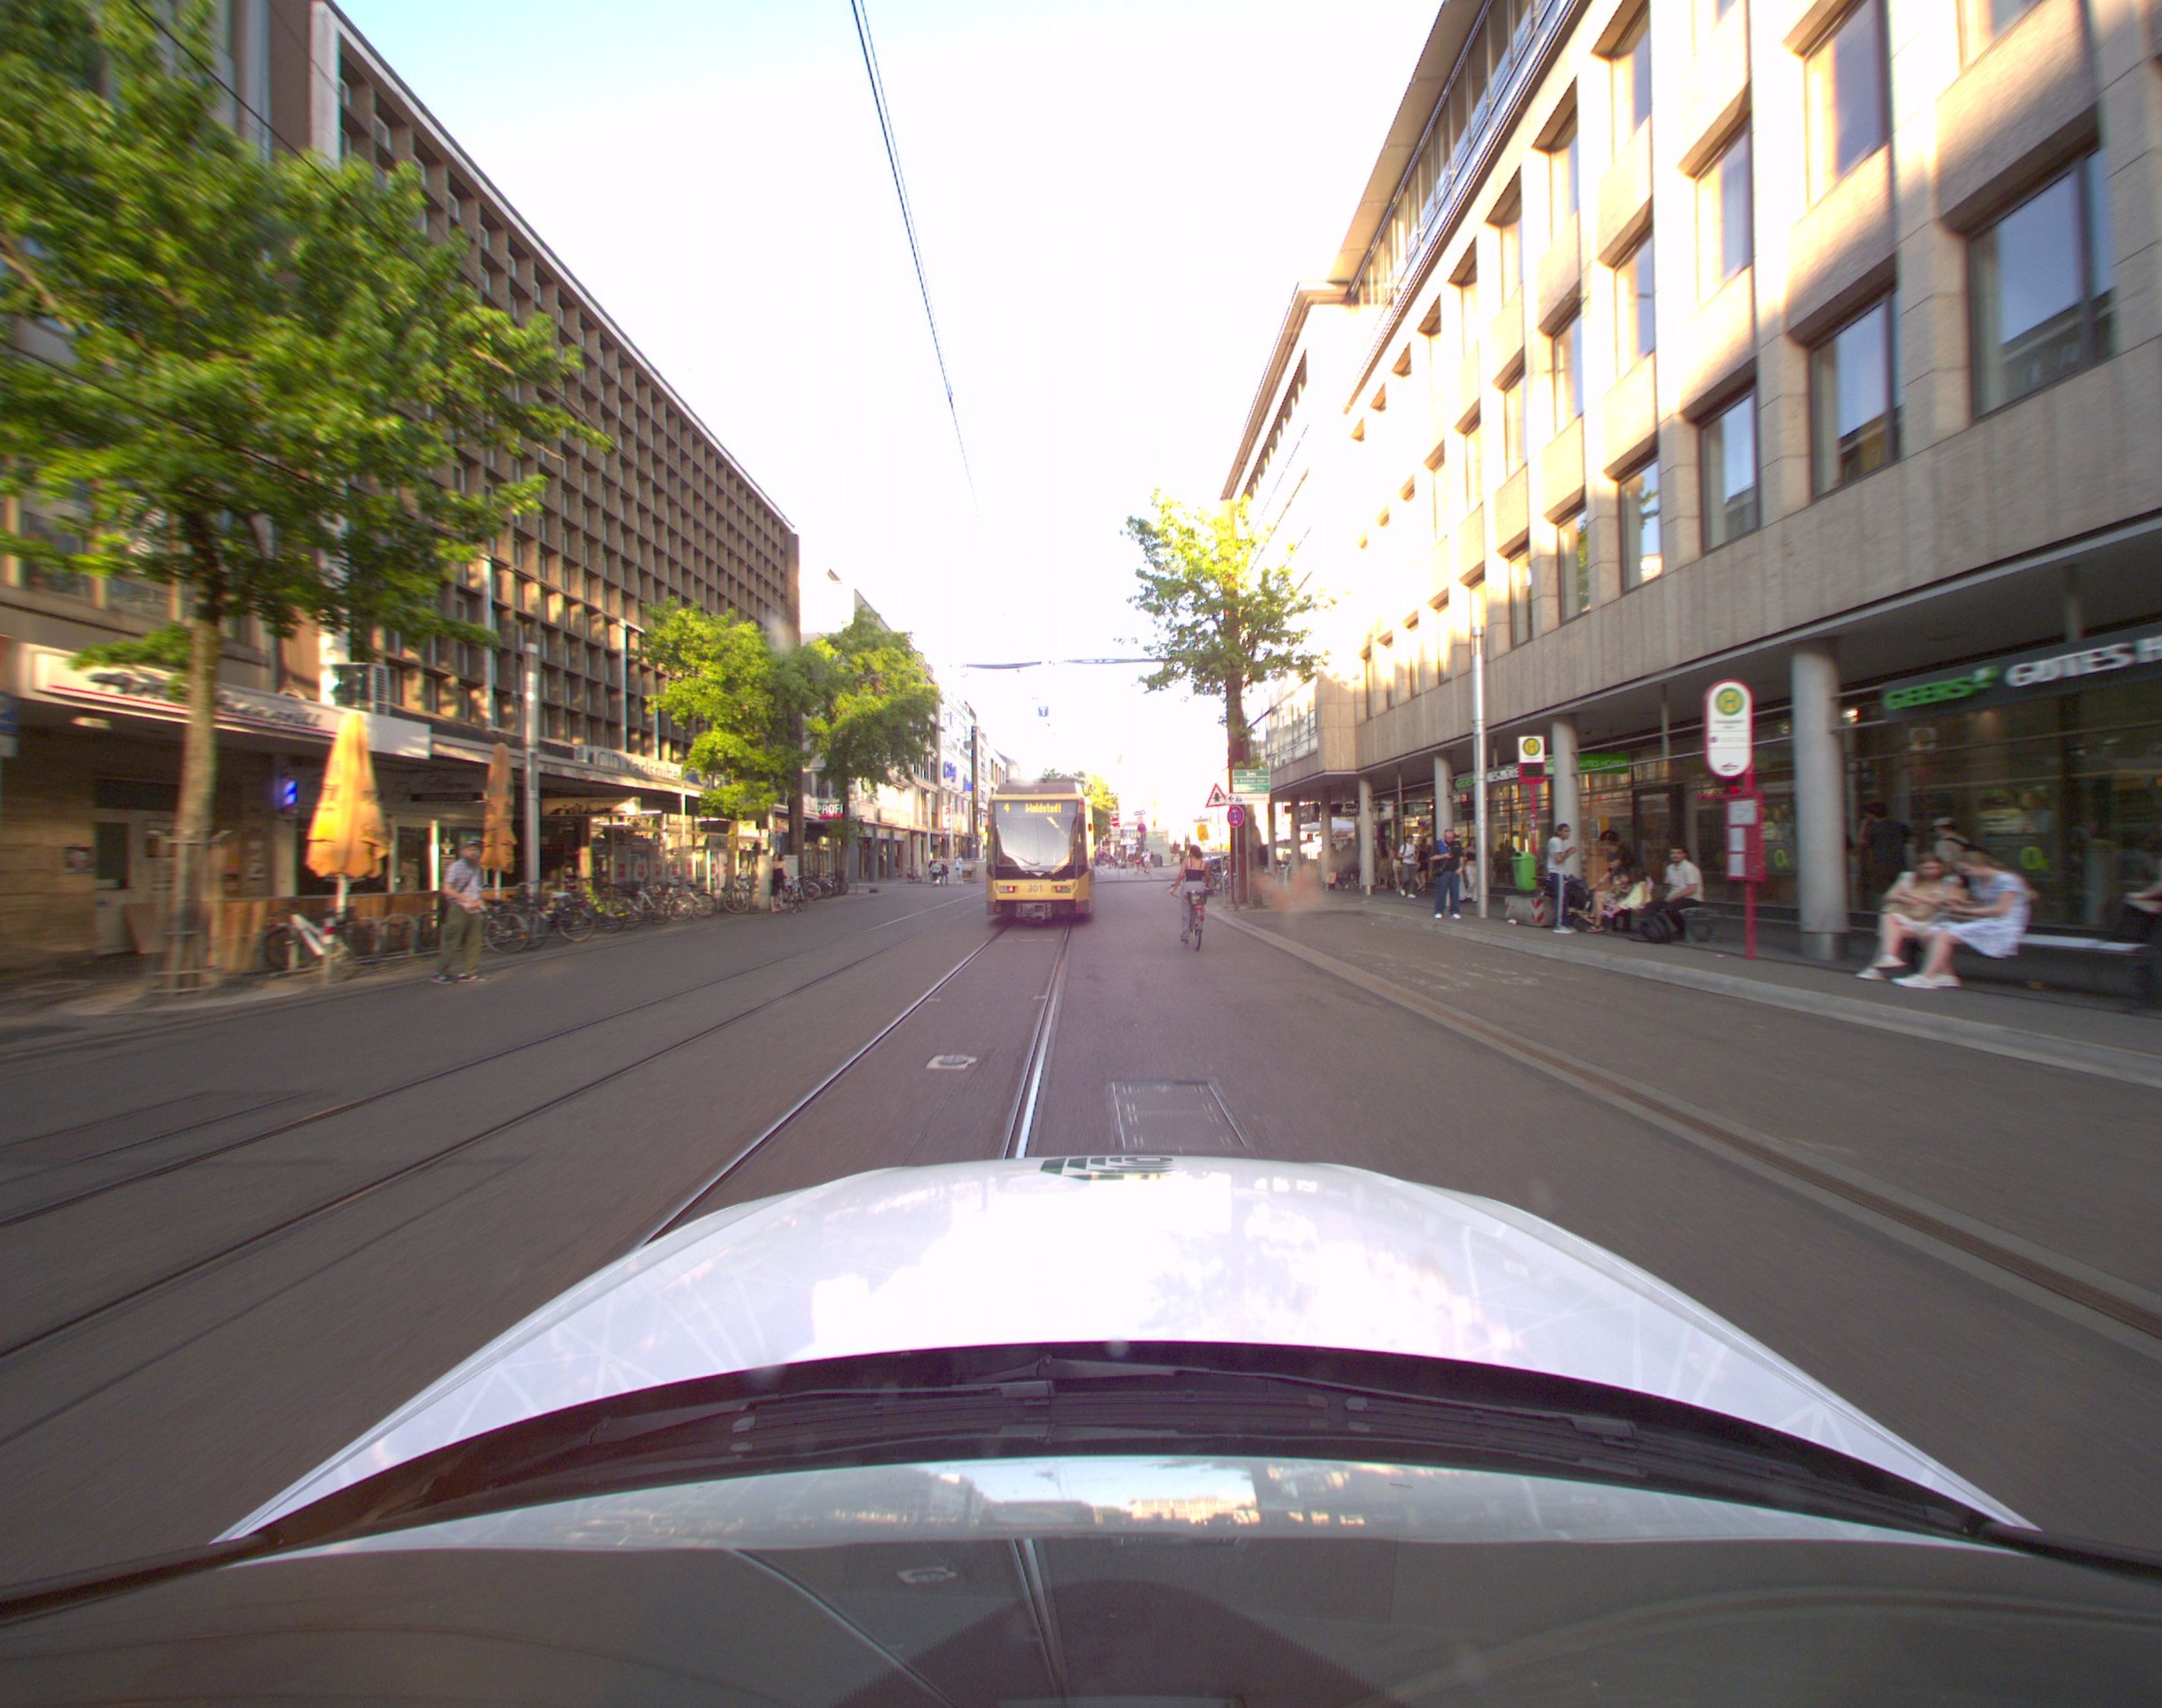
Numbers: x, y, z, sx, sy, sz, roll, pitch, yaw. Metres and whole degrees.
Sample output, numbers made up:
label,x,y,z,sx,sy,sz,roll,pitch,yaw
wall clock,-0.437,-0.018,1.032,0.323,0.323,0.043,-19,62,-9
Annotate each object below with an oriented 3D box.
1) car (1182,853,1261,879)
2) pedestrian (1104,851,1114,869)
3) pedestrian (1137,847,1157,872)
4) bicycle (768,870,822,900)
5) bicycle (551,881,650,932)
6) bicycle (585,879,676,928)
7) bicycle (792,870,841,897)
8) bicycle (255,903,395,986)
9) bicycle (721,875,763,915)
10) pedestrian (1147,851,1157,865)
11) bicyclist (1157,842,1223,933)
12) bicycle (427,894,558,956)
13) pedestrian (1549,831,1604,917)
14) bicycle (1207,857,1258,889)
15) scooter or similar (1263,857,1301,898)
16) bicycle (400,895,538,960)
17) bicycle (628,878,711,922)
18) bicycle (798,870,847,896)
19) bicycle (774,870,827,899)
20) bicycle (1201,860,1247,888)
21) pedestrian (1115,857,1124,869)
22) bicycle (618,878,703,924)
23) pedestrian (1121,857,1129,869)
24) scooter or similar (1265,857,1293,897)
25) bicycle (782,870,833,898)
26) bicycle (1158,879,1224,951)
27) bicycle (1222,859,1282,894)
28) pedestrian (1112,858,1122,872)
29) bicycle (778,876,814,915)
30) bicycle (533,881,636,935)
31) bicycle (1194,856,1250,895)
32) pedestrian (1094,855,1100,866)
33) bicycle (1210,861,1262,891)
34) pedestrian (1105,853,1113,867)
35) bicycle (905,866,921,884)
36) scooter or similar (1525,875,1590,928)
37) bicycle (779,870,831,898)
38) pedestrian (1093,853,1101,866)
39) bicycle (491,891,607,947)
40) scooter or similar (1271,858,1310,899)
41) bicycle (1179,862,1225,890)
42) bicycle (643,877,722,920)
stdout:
label,x,y,z,sx,sy,sz,roll,pitch,yaw
car,7.948,0.681,46.156,4.046,1.409,1.766,0,-1,-15
pedestrian,2.926,0.656,85.073,0.734,1.823,0.816,-1,0,-14
pedestrian,4.914,0.423,60.428,1.020,1.863,1.032,0,-1,-33
bicycle,-10.428,1.130,29.685,1.766,1.045,0.489,0,0,0
bicycle,-10.312,1.126,17.515,1.769,1.071,0.488,1,0,-6
bicycle,-10.349,1.138,18.756,1.769,1.071,0.488,1,0,-6
bicycle,-10.419,1.154,32.138,1.766,1.045,0.489,0,0,0
bicycle,-9.883,1.152,10.642,1.758,0.966,0.491,1,-1,17
bicycle,-9.613,1.140,23.160,0.487,1.045,1.776,-1,0,-2
pedestrian,8.117,0.461,92.526,0.773,1.661,0.785,-1,0,-41
bicyclist,1.848,0.554,13.895,0.994,1.502,0.857,0,0,-1
bicycle,-9.855,1.178,13.678,1.769,0.990,0.488,0,1,-6
pedestrian,9.827,0.389,16.179,0.646,1.661,0.650,-2,0,1
bicycle,6.322,0.791,33.959,1.912,1.222,0.762,-3,0,-5
scooter or similar,6.577,0.764,26.633,1.195,1.251,0.389,-2,0,-29
bicycle,-9.853,1.173,13.150,1.769,0.990,0.488,0,1,-6
bicycle,-10.352,1.155,20.521,1.769,1.071,0.488,1,0,-6
bicycle,-10.377,1.159,32.719,1.766,1.045,0.489,0,0,0
bicycle,-10.419,1.136,30.257,1.766,1.045,0.489,0,0,0
bicycle,6.239,0.882,35.618,1.848,1.109,0.666,-3,0,-3
pedestrian,4.200,0.989,88.890,0.790,1.221,0.768,-1,0,-3
bicycle,-10.303,1.149,19.976,1.769,1.071,0.488,1,0,-6
pedestrian,4.794,0.976,88.087,0.790,1.221,0.768,-1,0,-3
scooter or similar,6.634,0.757,27.248,0.388,1.251,1.199,-2,0,38
bicycle,-10.431,1.144,31.078,1.766,1.045,0.489,0,0,0
bicycle,1.851,1.003,13.999,0.812,1.073,2.112,0,0,-1
bicycle,6.328,0.841,30.216,1.992,1.155,0.724,-3,0,-5
pedestrian,4.110,1.251,92.968,0.759,1.579,0.800,-1,0,30
bicycle,-8.257,1.180,23.669,0.487,1.045,1.776,-1,0,-2
bicycle,-10.298,1.120,16.938,1.769,1.071,0.488,1,0,-6
bicycle,5.357,0.805,31.028,1.912,1.333,0.724,-3,0,-5
pedestrian,2.333,0.968,118.695,0.787,1.661,0.772,-1,0,12
bicycle,6.314,0.876,33.212,1.912,1.078,0.762,-3,0,-5
pedestrian,3.480,0.775,101.285,0.787,1.661,0.772,-1,0,12
bicycle,-11.101,1.369,53.948,0.496,1.107,1.803,-1,1,6
scooter or similar,8.301,0.814,14.231,0.827,0.884,0.689,0,-1,14
bicycle,-10.436,1.141,30.835,1.766,1.045,0.489,0,0,0
pedestrian,2.073,0.715,104.977,0.761,1.661,0.797,-1,0,12
bicycle,-9.834,1.192,15.090,1.769,0.990,0.488,0,1,-6
scooter or similar,6.647,0.771,25.820,1.119,1.251,0.492,-2,0,-30
bicycle,5.256,0.932,35.314,1.848,1.109,0.666,-3,0,-3
bicycle,-10.336,1.153,21.174,1.769,1.071,0.488,1,0,-6
